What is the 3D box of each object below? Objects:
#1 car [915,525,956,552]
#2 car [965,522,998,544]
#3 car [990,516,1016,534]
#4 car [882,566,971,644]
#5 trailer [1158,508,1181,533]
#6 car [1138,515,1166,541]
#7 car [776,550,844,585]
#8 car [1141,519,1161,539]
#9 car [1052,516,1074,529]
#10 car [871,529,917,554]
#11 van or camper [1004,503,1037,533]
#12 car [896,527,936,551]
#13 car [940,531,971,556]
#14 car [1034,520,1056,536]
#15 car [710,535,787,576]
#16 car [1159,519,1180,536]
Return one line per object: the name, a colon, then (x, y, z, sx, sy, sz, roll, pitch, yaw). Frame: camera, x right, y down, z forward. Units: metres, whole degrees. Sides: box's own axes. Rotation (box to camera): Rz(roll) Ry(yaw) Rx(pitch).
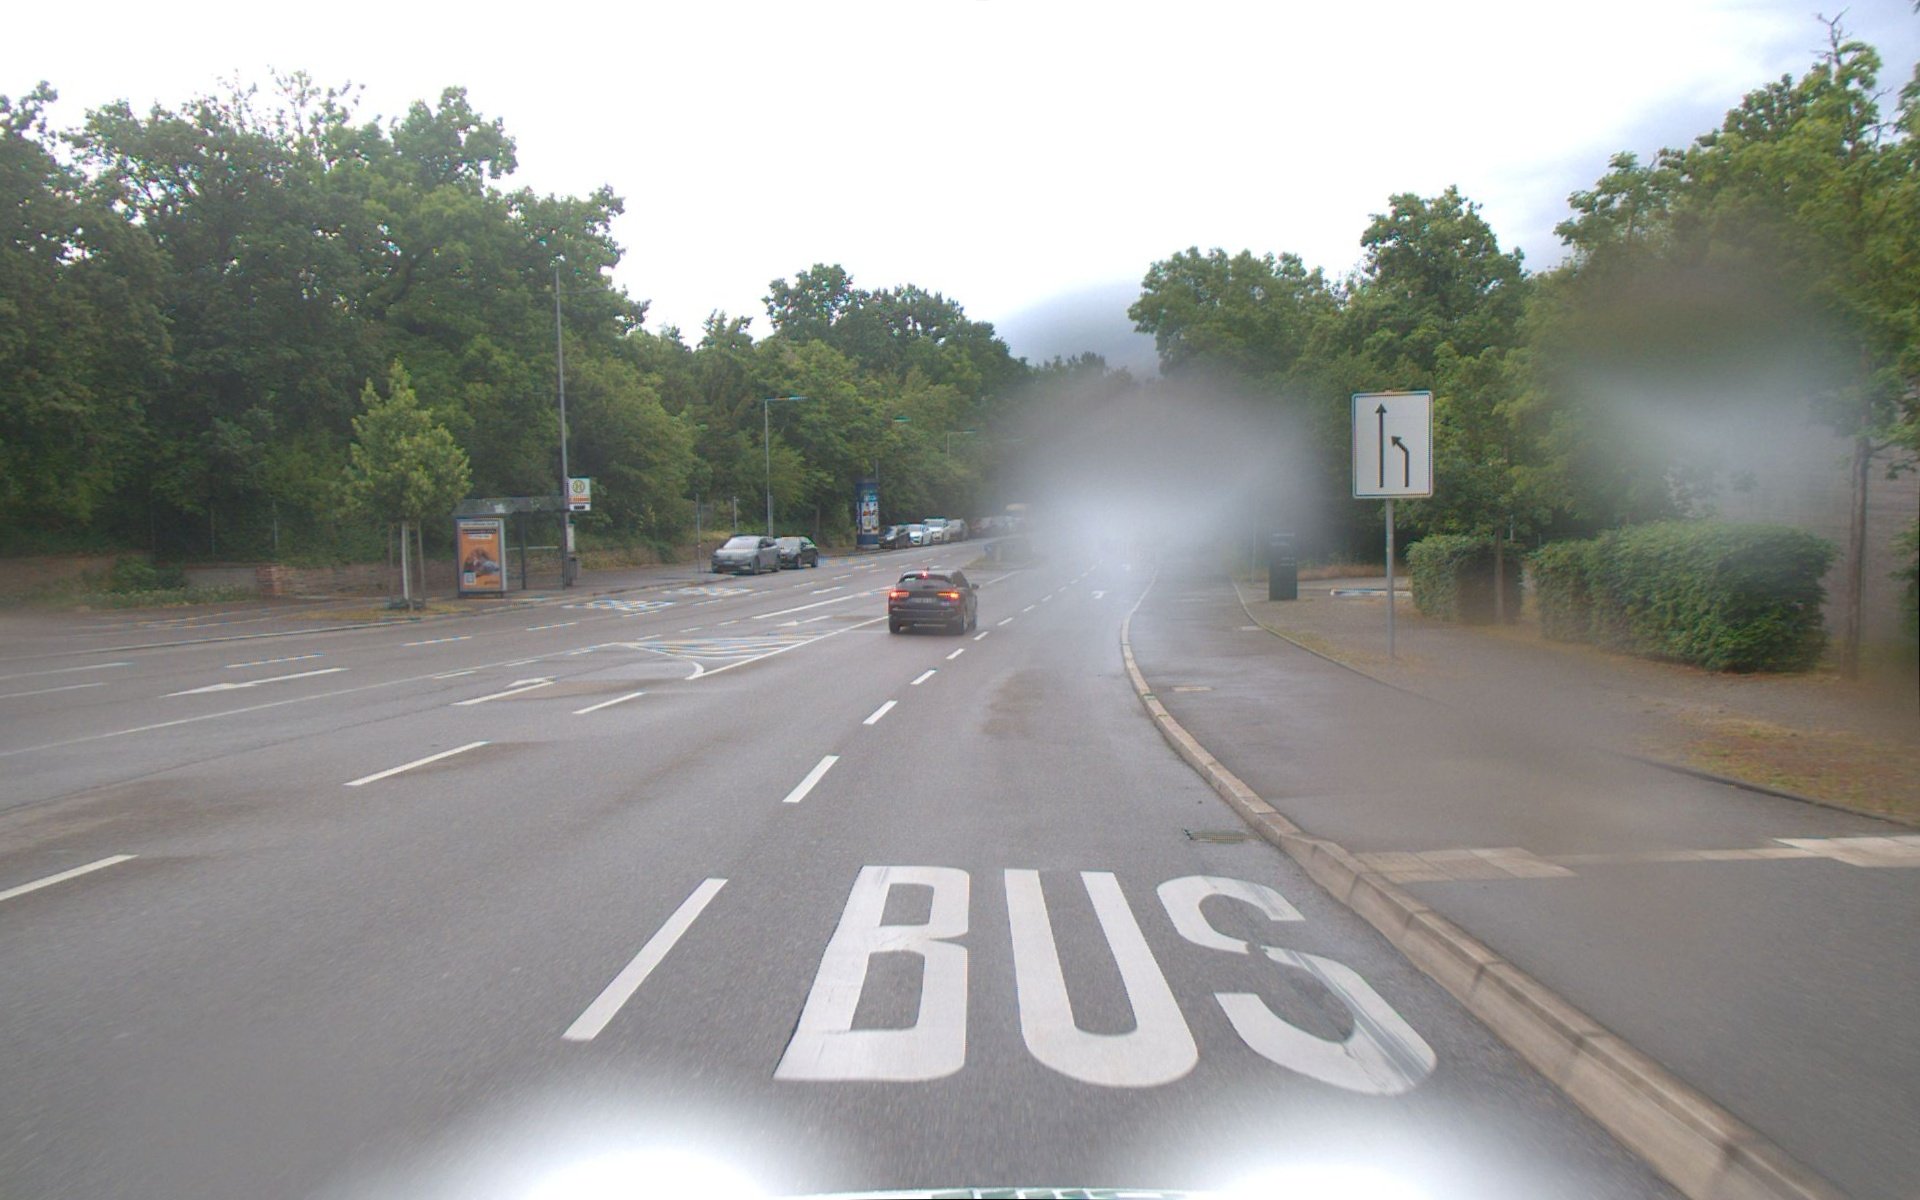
car: (-1.673, -4.308, 116.054, 1.951, 1.795, 4.966, 0, 3, 11)
car: (1.766, -5.442, 133.922, 1.878, 1.644, 4.495, 0, 3, 12)
car: (3.739, -6.551, 144.188, 1.583, 1.473, 3.661, -1, 3, 12)
car: (-0.725, 0.070, 38.627, 1.842, 1.491, 4.003, 2, 4, 2)
trailer: (20.101, -7.602, 158.470, 1.865, 2.286, 4.774, 1, 4, 11)
car: (12.788, -4.815, 110.275, 1.783, 1.642, 4.256, 1, 3, 7)
car: (-6.852, -1.534, 75.912, 1.865, 1.438, 4.788, 1, 3, 10)
car: (15.254, -5.649, 131.966, 1.526, 1.485, 3.680, 1, 4, 8)
car: (11.019, -8.291, 176.295, 1.830, 1.326, 4.476, 0, 4, 11)
car: (-4.132, -3.693, 104.110, 1.712, 1.470, 4.592, 1, 4, 13)
van or camper: (5.556, -7.550, 151.515, 2.098, 2.672, 5.689, 0, 4, 12)
car: (-2.885, -4.078, 109.926, 1.681, 1.485, 4.714, 0, 4, 11)
car: (-0.338, -4.225, 123.082, 1.694, 1.677, 4.577, 1, 3, 8)
car: (8.582, -7.312, 167.419, 1.568, 1.536, 3.982, 0, 4, 12)
car: (-8.841, -1.903, 69.578, 1.801, 1.616, 4.934, 1, 3, 10)
car: (19.238, -6.681, 151.824, 1.783, 1.511, 4.204, 0, 2, 8)
